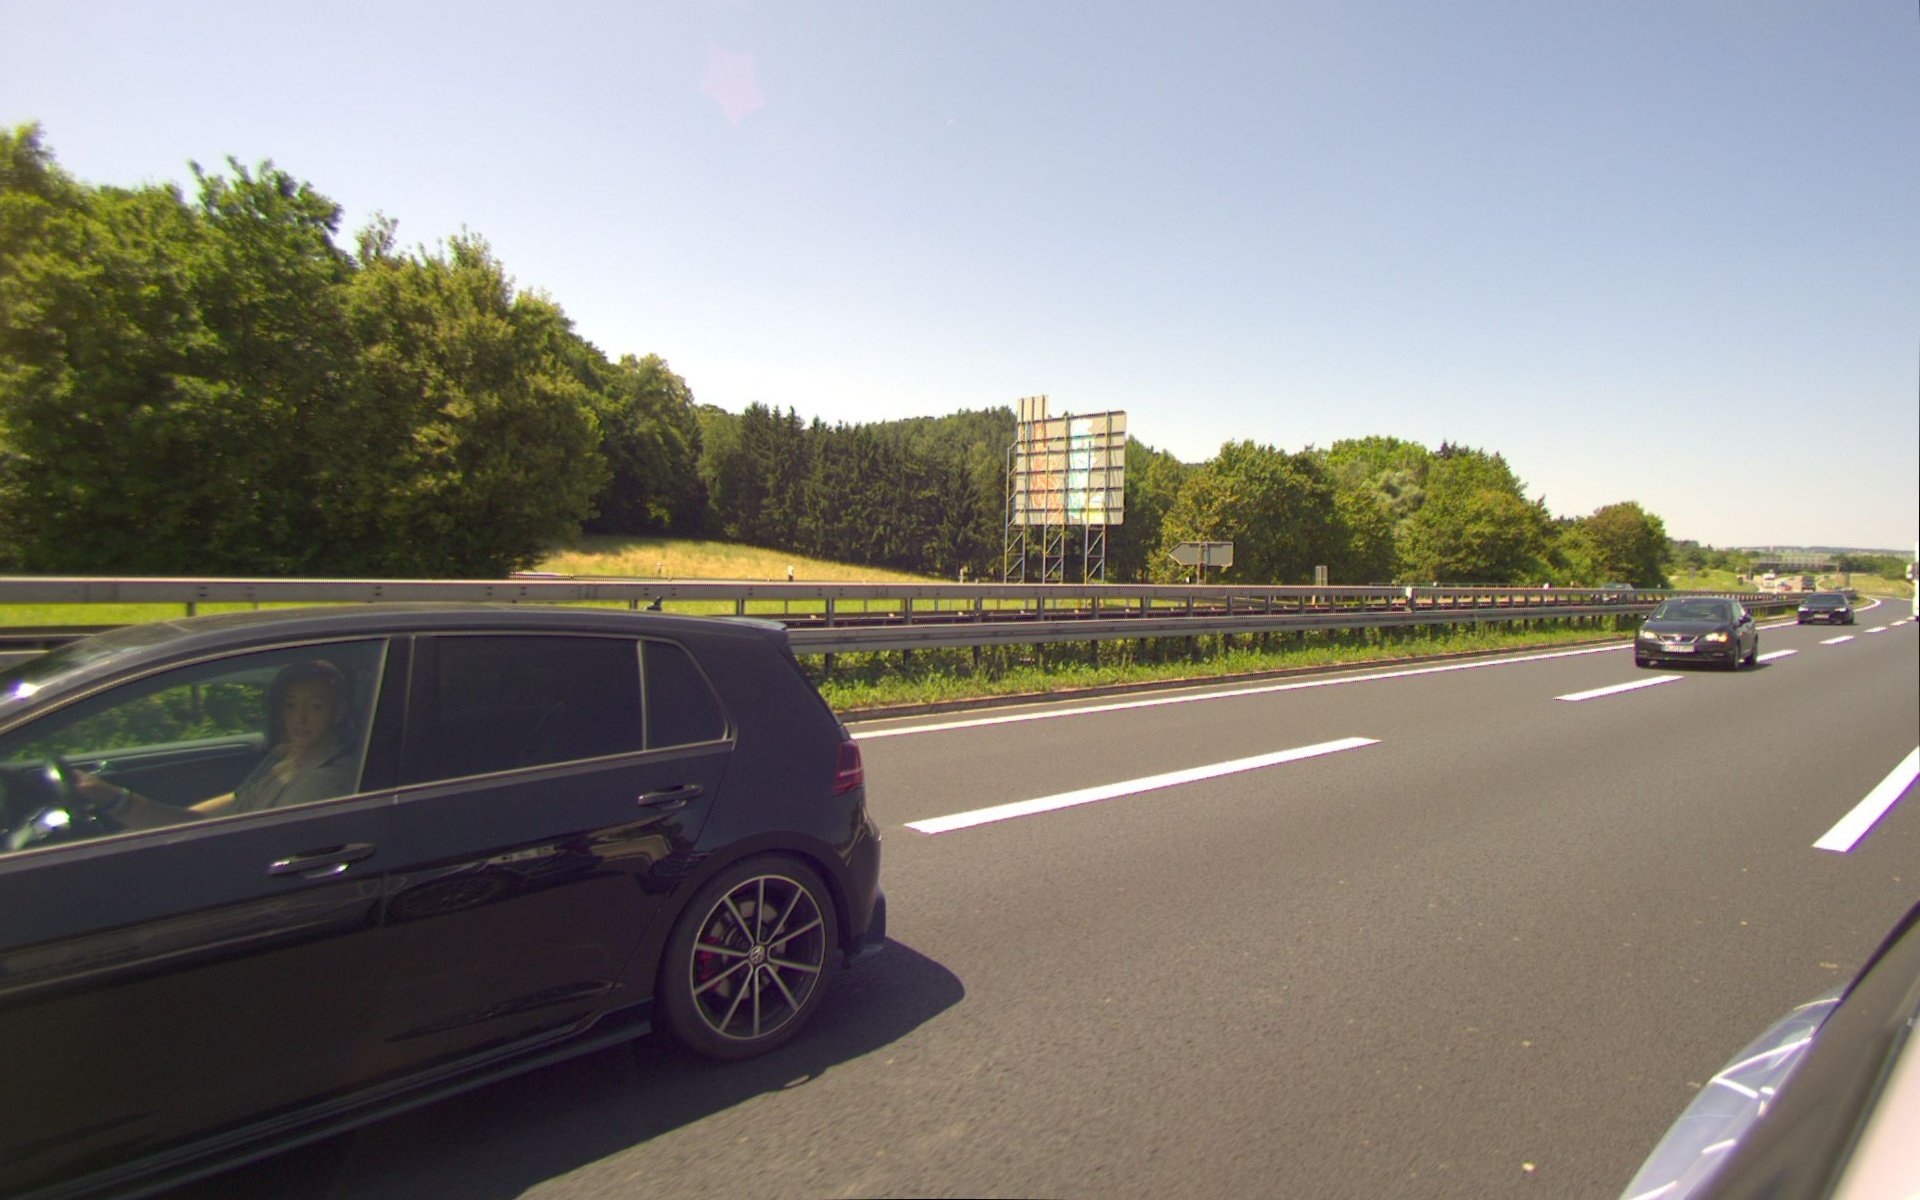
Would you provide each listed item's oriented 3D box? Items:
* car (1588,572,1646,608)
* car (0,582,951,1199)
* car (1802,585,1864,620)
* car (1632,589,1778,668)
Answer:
[{"bbox_3d":[39.042,-0.592,60.108,3.933,2.038,1.996,0,2,-43],"label":"car"},{"bbox_3d":[-2.055,0.687,3.014,3.900,1.453,1.796,-1,2,-43],"label":"car"},{"bbox_3d":[39.773,0.060,46.074,1.888,1.491,3.805,1,2,45],"label":"car"},{"bbox_3d":[15.254,0.508,20.666,3.698,1.417,1.779,-1,2,-43],"label":"car"}]
